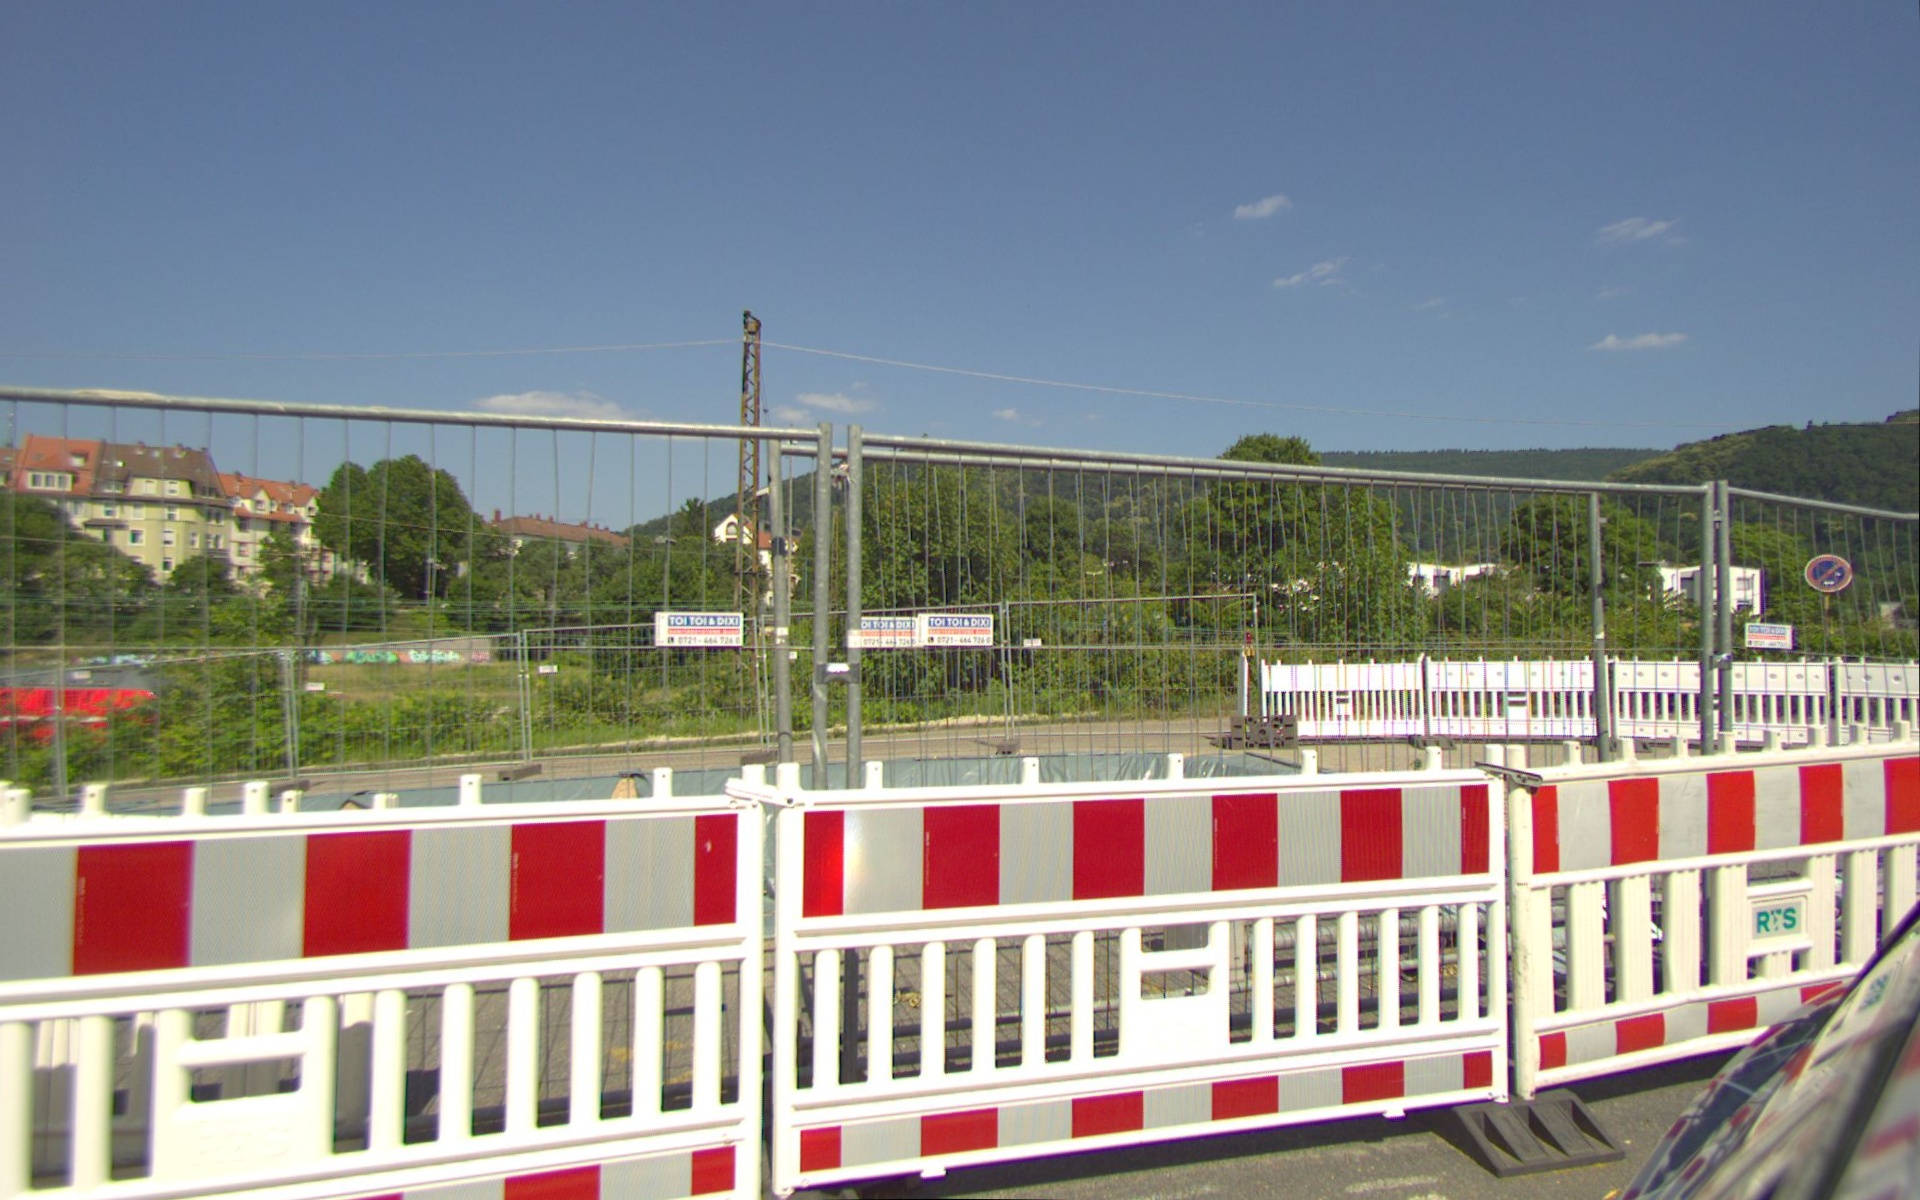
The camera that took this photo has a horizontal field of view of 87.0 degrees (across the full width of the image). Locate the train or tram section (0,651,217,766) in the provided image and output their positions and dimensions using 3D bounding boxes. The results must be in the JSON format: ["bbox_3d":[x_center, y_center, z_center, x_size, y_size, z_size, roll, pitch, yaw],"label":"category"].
[{"bbox_3d":[-31.591,3.723,35.269,8.791,3.751,3.026,0,-3,-6],"label":"train or tram section"}]
